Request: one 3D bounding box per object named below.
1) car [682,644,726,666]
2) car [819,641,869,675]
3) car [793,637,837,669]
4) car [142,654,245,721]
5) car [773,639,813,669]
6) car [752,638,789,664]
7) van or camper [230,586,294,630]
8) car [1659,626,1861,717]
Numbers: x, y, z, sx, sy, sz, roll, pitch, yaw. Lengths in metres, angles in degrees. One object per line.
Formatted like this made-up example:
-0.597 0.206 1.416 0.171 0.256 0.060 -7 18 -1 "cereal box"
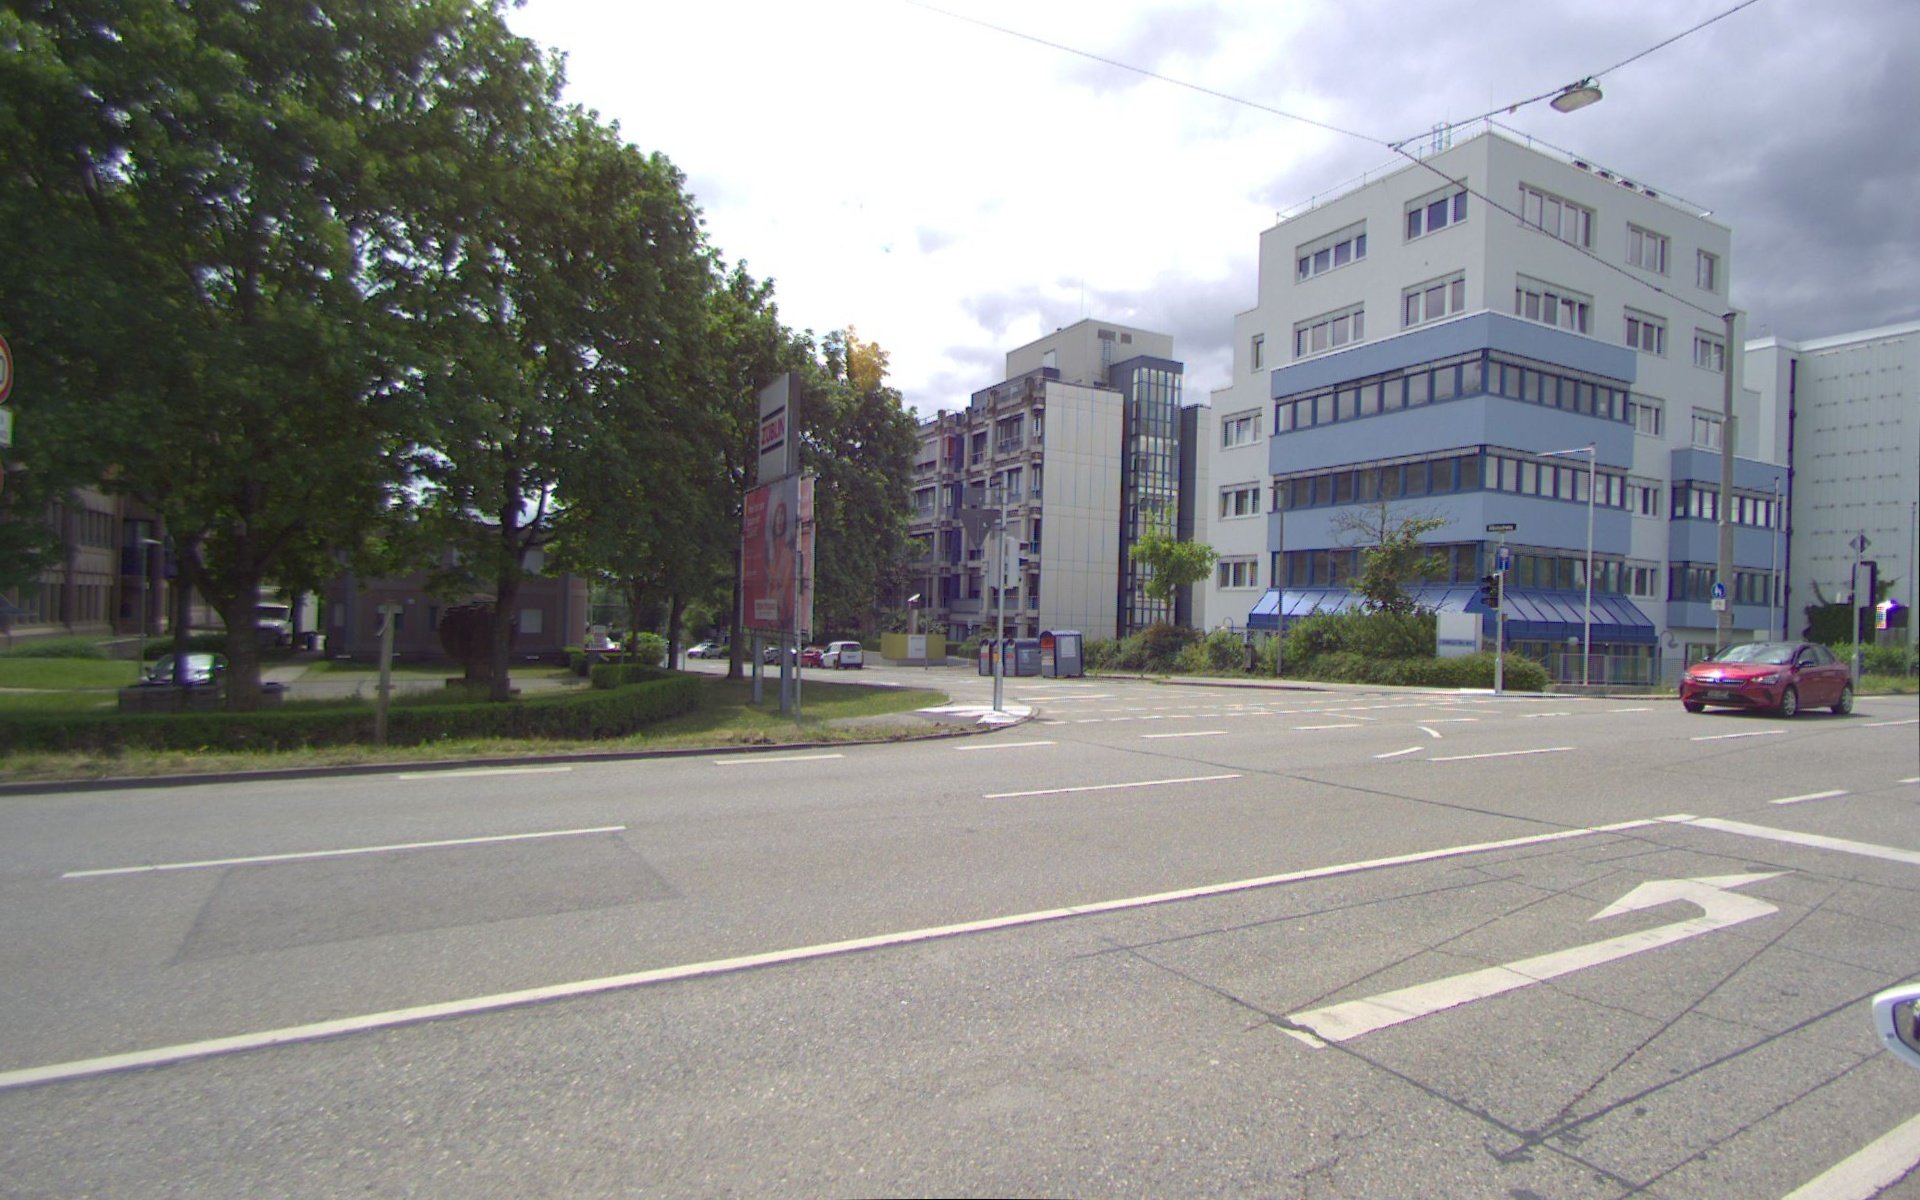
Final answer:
-24.537 5.331 96.543 1.963 1.945 3.998 -2 -5 26 "car"
-7.597 3.757 65.483 1.974 2.006 3.974 2 -1 -26 "car"
-10.154 3.658 70.034 1.868 2.040 3.974 2 -1 -26 "car"
-22.840 2.568 30.075 1.764 1.750 3.971 2 -2 -28 "car"
-12.344 3.971 74.121 1.848 2.040 3.973 2 -1 -26 "car"
-15.309 4.073 80.862 1.875 1.919 3.973 2 -1 -26 "car"
-36.328 0.414 52.409 2.332 2.132 5.160 3 -1 -32 "van or camper"
16.015 1.404 20.088 3.951 1.633 1.768 3 -1 -29 "car"
